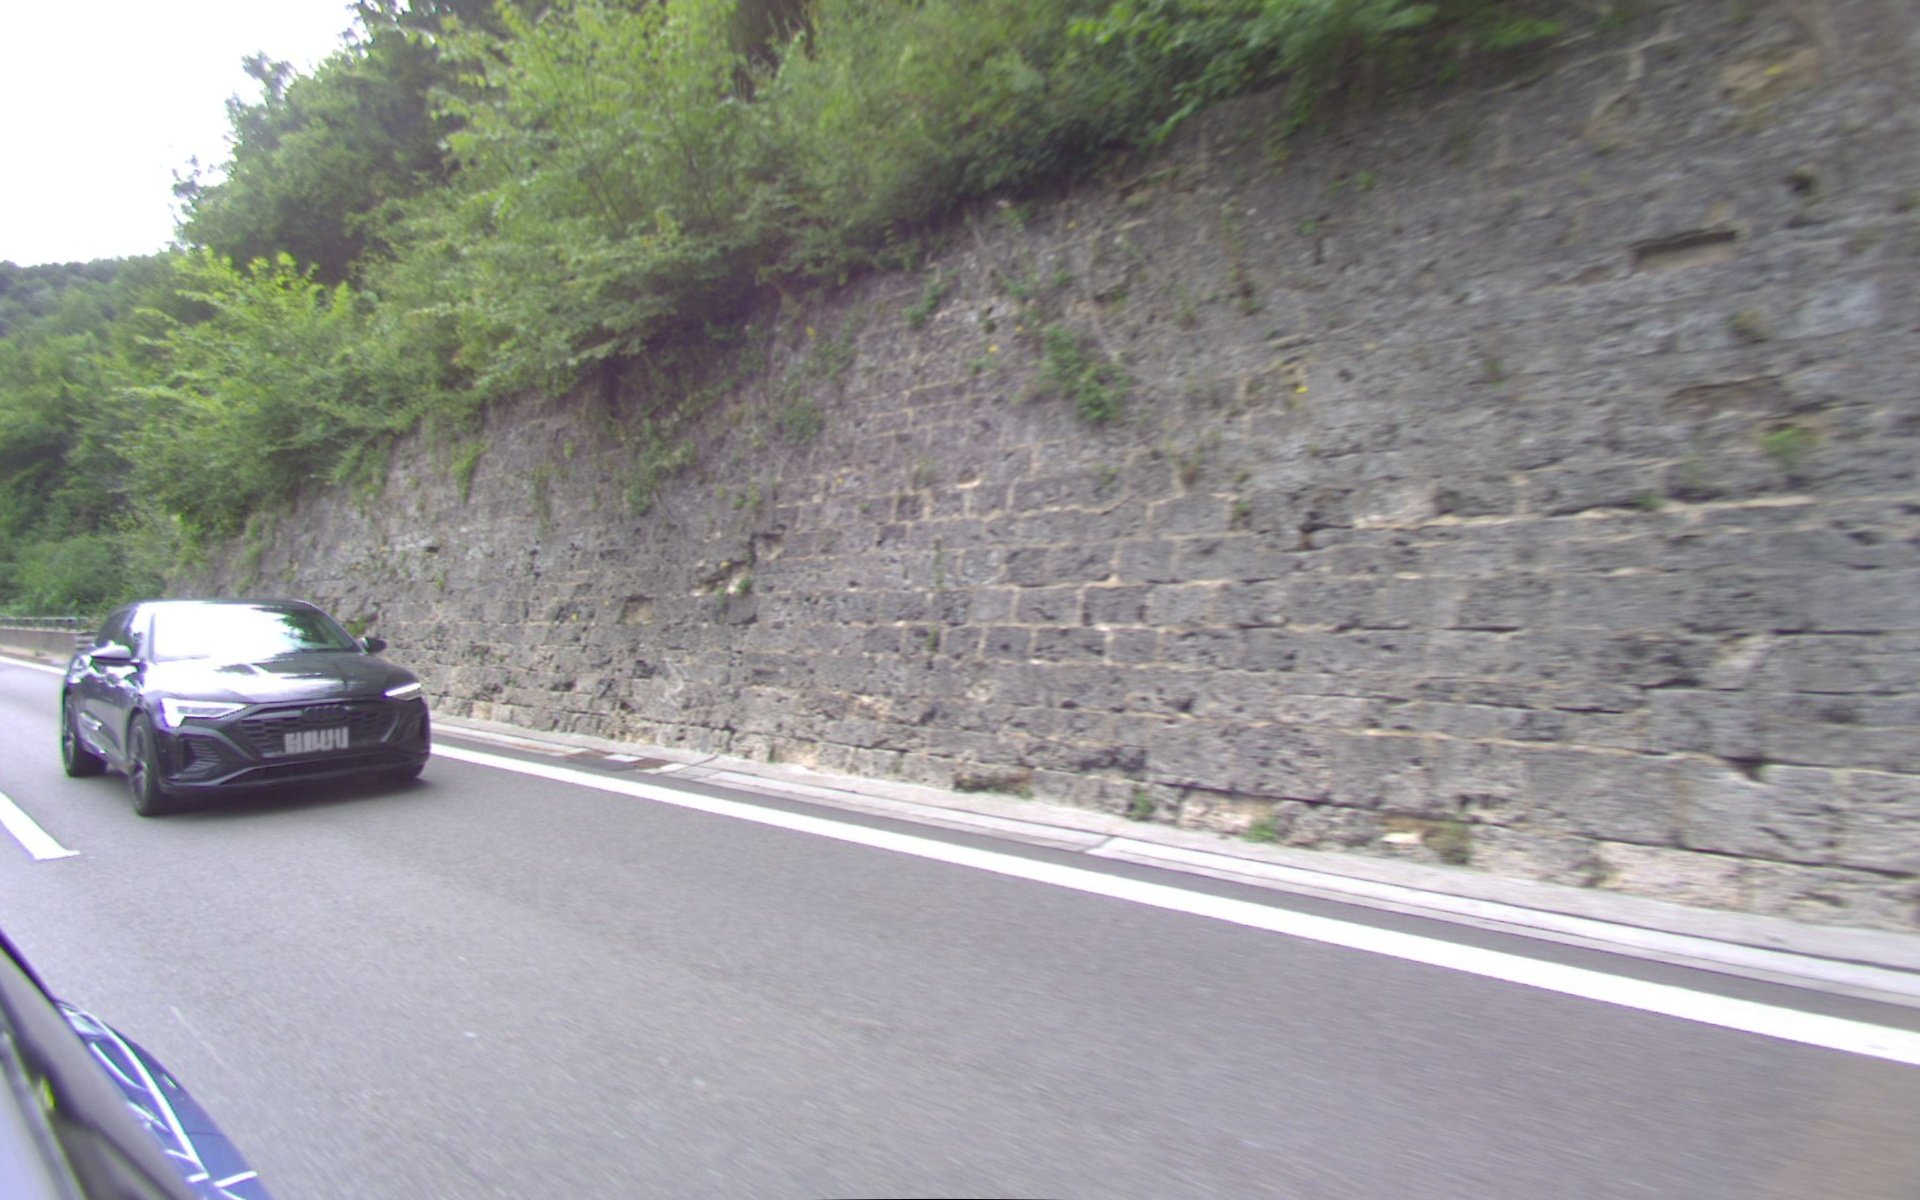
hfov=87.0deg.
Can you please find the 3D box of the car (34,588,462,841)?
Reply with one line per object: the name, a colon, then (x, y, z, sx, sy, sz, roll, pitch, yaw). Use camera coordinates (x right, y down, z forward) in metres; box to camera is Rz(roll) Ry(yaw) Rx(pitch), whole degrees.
car: (-6.541, 0.785, 9.026, 5.005, 1.644, 1.973, -1, 0, 41)
